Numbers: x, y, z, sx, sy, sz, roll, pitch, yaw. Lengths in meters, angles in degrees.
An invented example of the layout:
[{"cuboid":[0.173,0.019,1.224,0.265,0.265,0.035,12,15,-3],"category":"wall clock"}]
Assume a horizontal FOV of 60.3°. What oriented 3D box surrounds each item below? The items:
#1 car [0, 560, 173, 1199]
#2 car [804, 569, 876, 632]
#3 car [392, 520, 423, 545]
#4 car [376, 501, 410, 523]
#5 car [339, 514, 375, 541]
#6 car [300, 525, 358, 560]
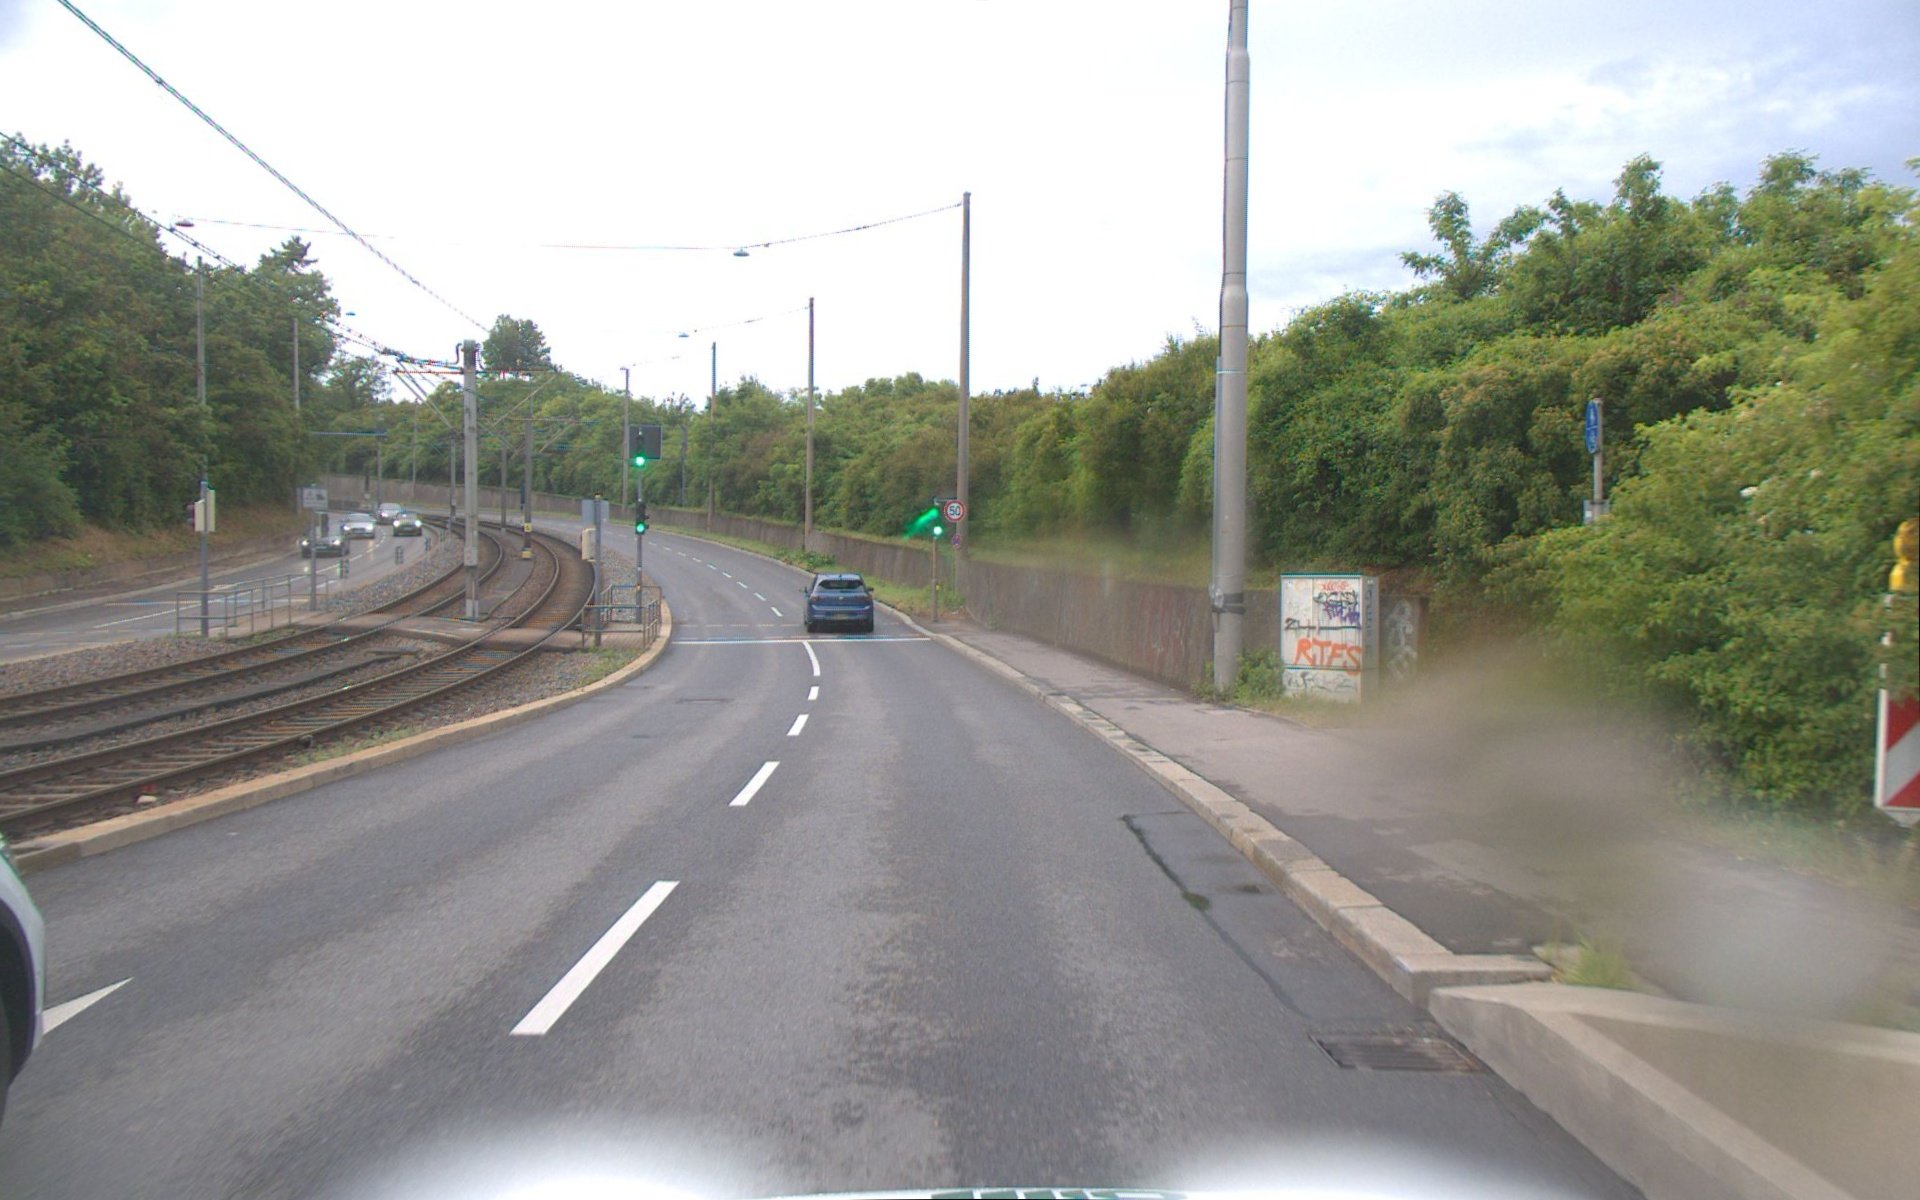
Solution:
[{"cuboid":[-3.131,0.701,2.467,1.833,1.550,4.539,0,1,-1],"category":"car"},{"cuboid":[-3.143,-0.024,43.990,1.728,1.527,4.000,0,2,-2],"category":"car"},{"cuboid":[-34.244,-4.224,102.444,1.609,1.408,3.872,-4,4,-21],"category":"car"},{"cuboid":[-42.329,-6.571,123.391,1.838,1.462,4.819,-4,6,-25],"category":"car"},{"cuboid":[-35.829,-4.336,98.242,1.795,1.403,4.675,-3,5,-22],"category":"car"},{"cuboid":[-29.544,-2.716,77.566,1.685,1.483,4.267,-2,3,-10],"category":"car"}]
